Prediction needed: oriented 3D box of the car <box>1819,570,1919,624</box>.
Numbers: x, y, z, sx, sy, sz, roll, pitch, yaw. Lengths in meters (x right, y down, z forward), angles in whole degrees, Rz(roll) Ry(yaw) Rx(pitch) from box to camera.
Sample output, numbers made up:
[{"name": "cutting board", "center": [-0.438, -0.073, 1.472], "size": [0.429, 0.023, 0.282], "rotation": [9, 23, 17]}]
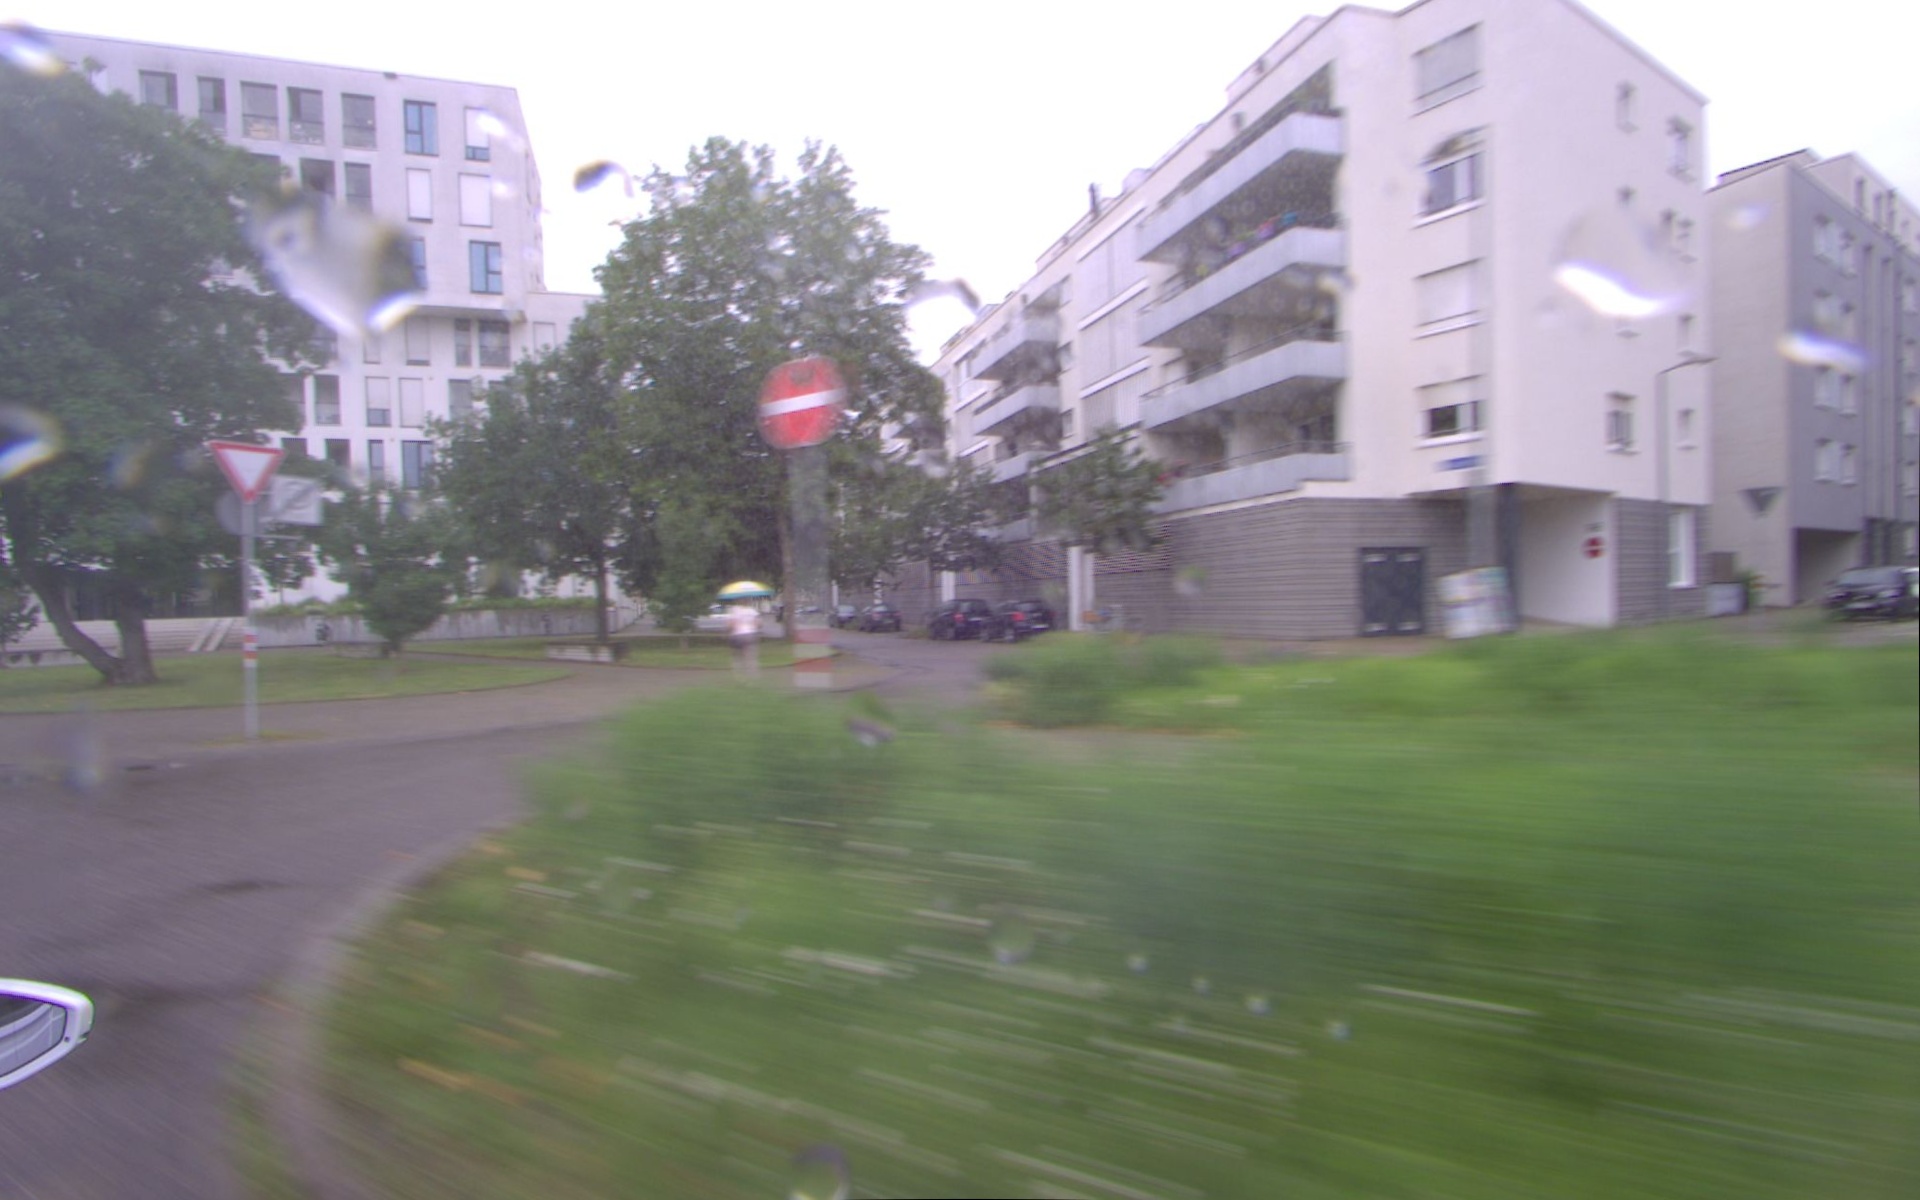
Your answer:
[{"name": "car", "center": [26.337, -0.093, 28.525], "size": [3.777, 1.434, 1.986], "rotation": [-1, 0, -35]}]

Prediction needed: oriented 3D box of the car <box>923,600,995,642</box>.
[{"name": "car", "center": [-0.104, 0.825, 40.296], "size": [1.704, 1.569, 3.991], "rotation": [-1, 0, -19]}]

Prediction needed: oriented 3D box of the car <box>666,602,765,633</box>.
[{"name": "car", "center": [-12.290, 0.874, 50.346], "size": [4.751, 1.527, 1.622], "rotation": [1, 0, -17]}]

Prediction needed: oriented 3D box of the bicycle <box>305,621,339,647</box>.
[{"name": "bicycle", "center": [-27.278, 1.427, 42.849], "size": [0.712, 1.047, 2.069], "rotation": [-2, 0, -18]}]

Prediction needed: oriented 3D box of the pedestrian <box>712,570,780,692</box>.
[{"name": "pedestrian", "center": [-3.679, 0.517, 17.221], "size": [0.614, 2.041, 0.963], "rotation": [0, 1, 32]}]

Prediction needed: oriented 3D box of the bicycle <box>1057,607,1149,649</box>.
[{"name": "bicycle", "center": [3.976, 0.759, 27.841], "size": [2.440, 1.102, 0.724], "rotation": [-1, 1, -17]}]

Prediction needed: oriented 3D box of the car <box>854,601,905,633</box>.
[{"name": "car", "center": [-4.409, 0.896, 54.330], "size": [1.744, 1.569, 4.134], "rotation": [-3, 2, -19]}]

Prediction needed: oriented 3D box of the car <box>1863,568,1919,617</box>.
[{"name": "car", "center": [29.880, -0.260, 31.069], "size": [4.410, 1.451, 1.985], "rotation": [-1, 0, -37]}]

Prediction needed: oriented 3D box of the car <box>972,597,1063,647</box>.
[{"name": "car", "center": [1.890, 0.702, 34.230], "size": [1.704, 1.569, 4.112], "rotation": [-1, 0, -19]}]
